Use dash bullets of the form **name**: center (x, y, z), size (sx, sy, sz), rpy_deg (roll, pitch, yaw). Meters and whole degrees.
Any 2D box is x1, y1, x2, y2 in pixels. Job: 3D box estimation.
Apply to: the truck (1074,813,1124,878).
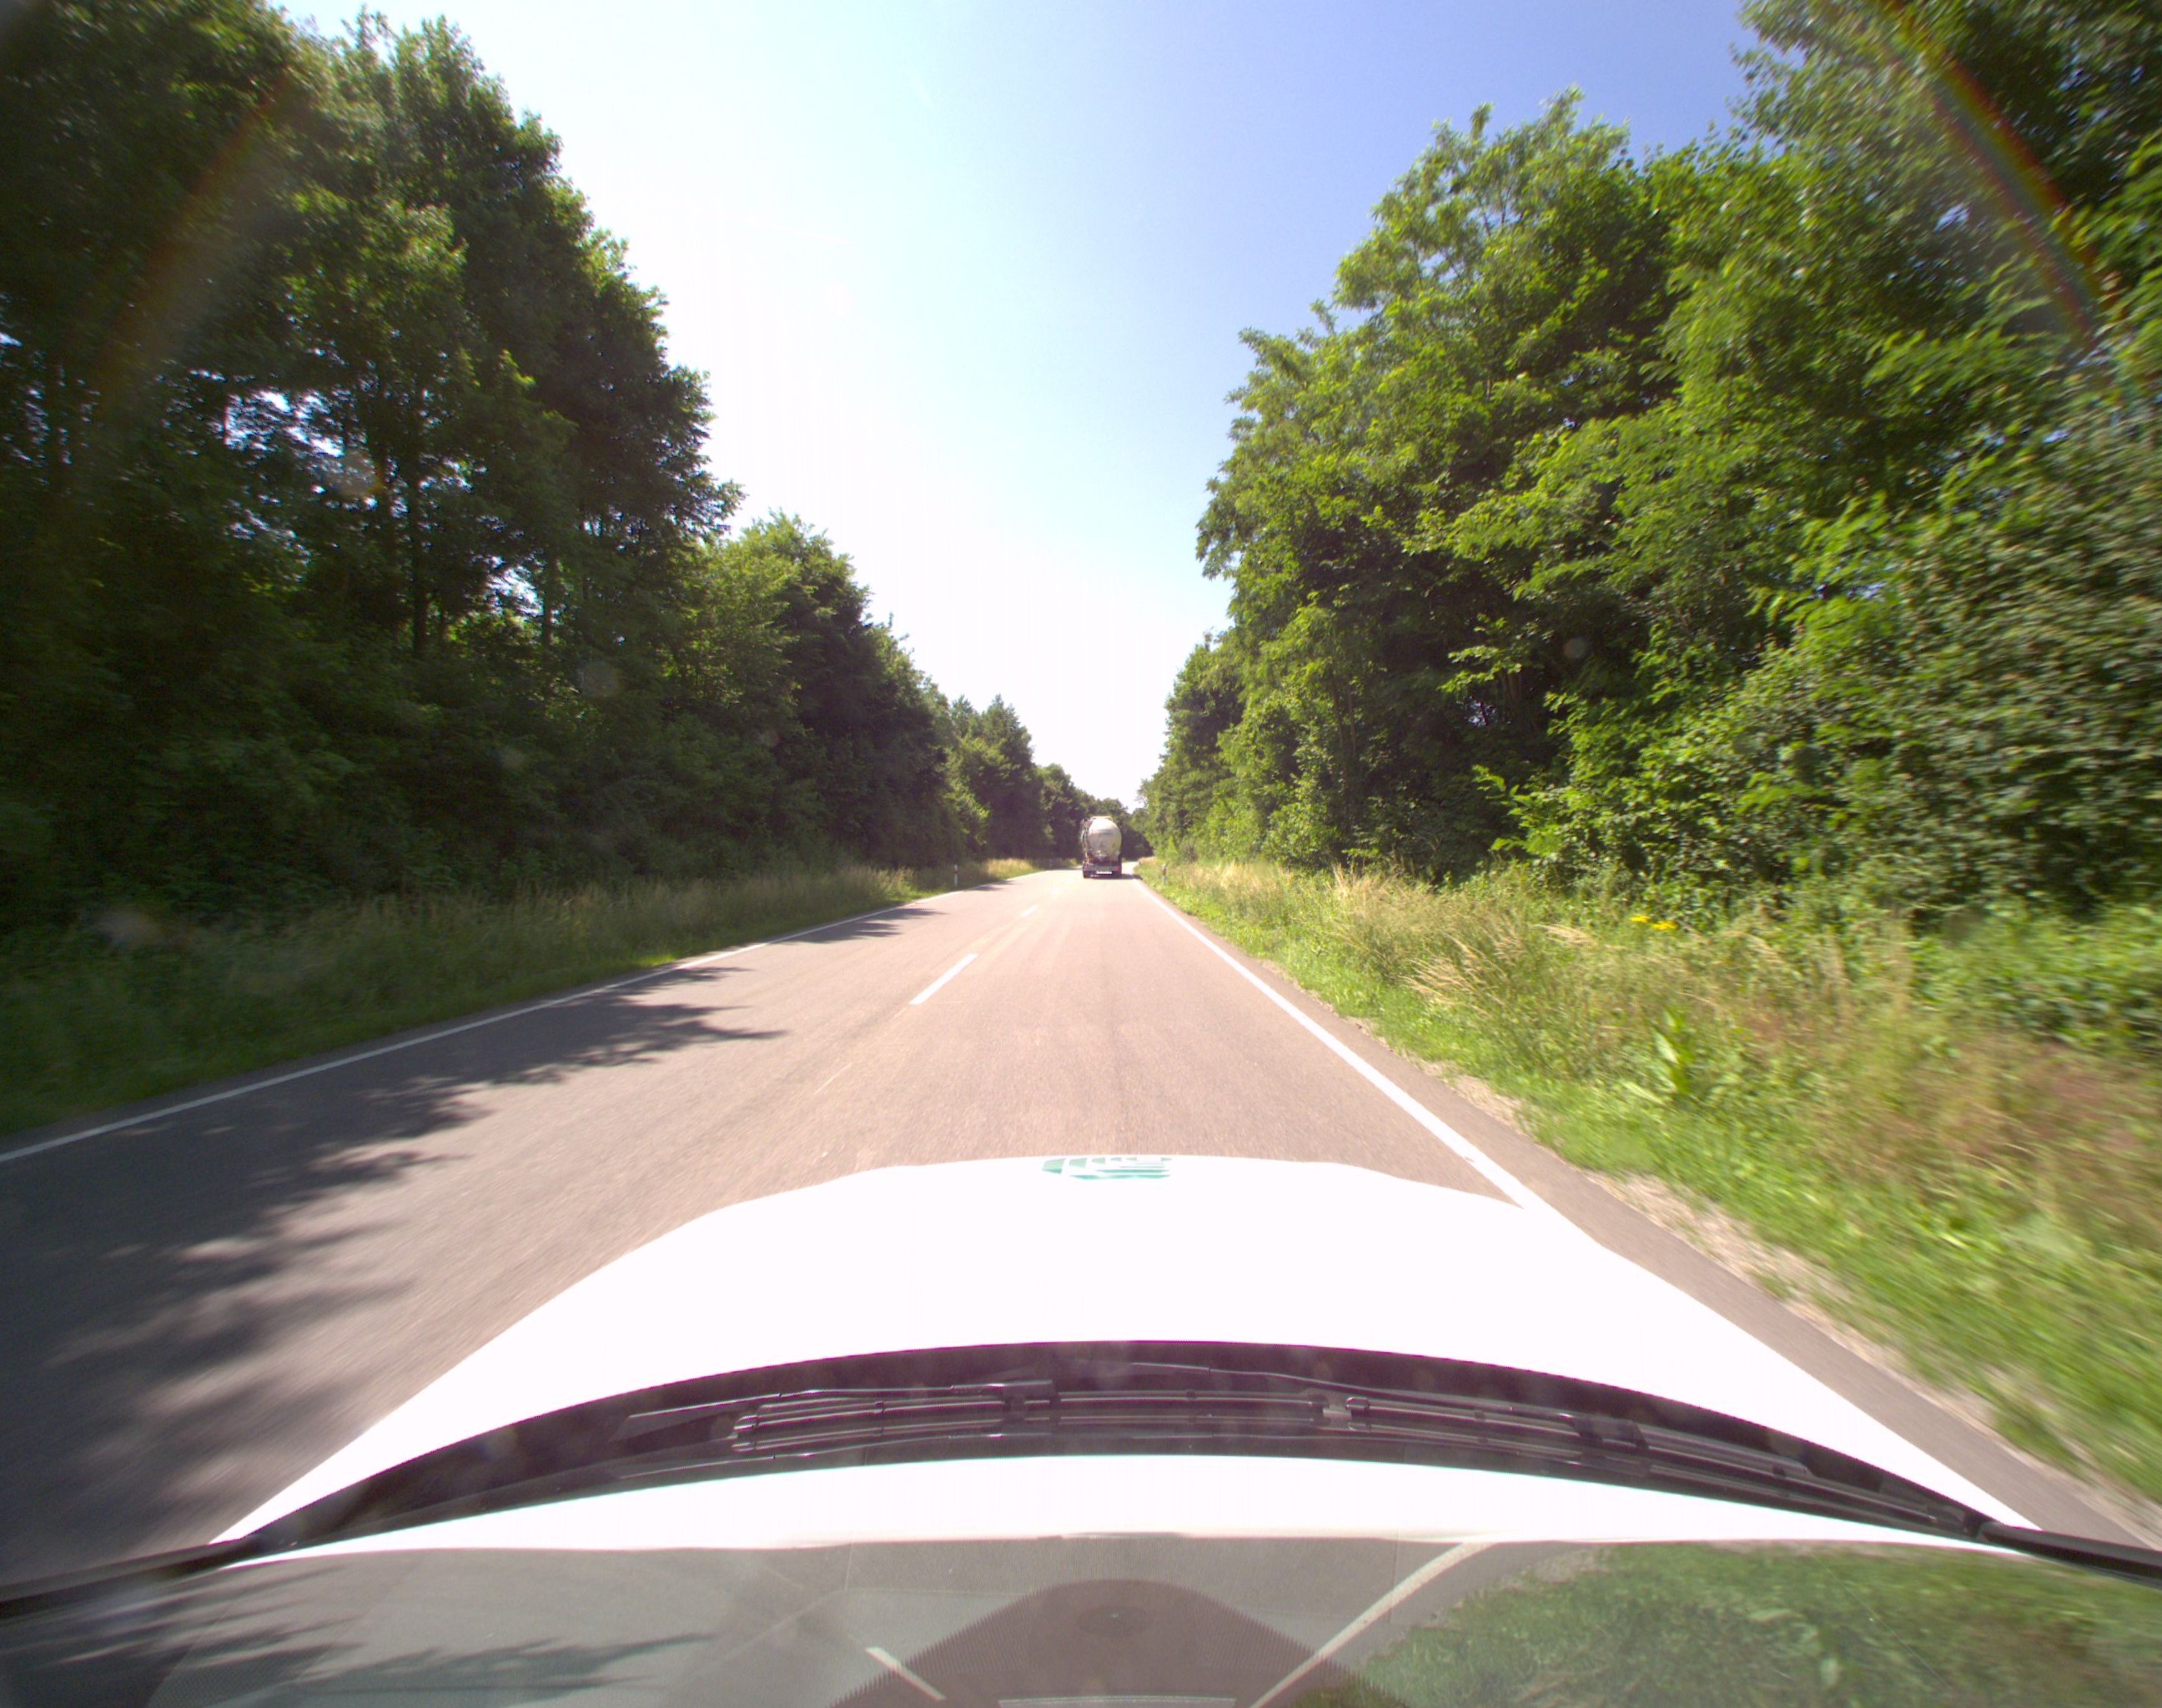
- **truck**: center (1.238, -0.482, 57.884), size (3.038, 3.998, 15.638), rpy_deg (1, 0, 1)
